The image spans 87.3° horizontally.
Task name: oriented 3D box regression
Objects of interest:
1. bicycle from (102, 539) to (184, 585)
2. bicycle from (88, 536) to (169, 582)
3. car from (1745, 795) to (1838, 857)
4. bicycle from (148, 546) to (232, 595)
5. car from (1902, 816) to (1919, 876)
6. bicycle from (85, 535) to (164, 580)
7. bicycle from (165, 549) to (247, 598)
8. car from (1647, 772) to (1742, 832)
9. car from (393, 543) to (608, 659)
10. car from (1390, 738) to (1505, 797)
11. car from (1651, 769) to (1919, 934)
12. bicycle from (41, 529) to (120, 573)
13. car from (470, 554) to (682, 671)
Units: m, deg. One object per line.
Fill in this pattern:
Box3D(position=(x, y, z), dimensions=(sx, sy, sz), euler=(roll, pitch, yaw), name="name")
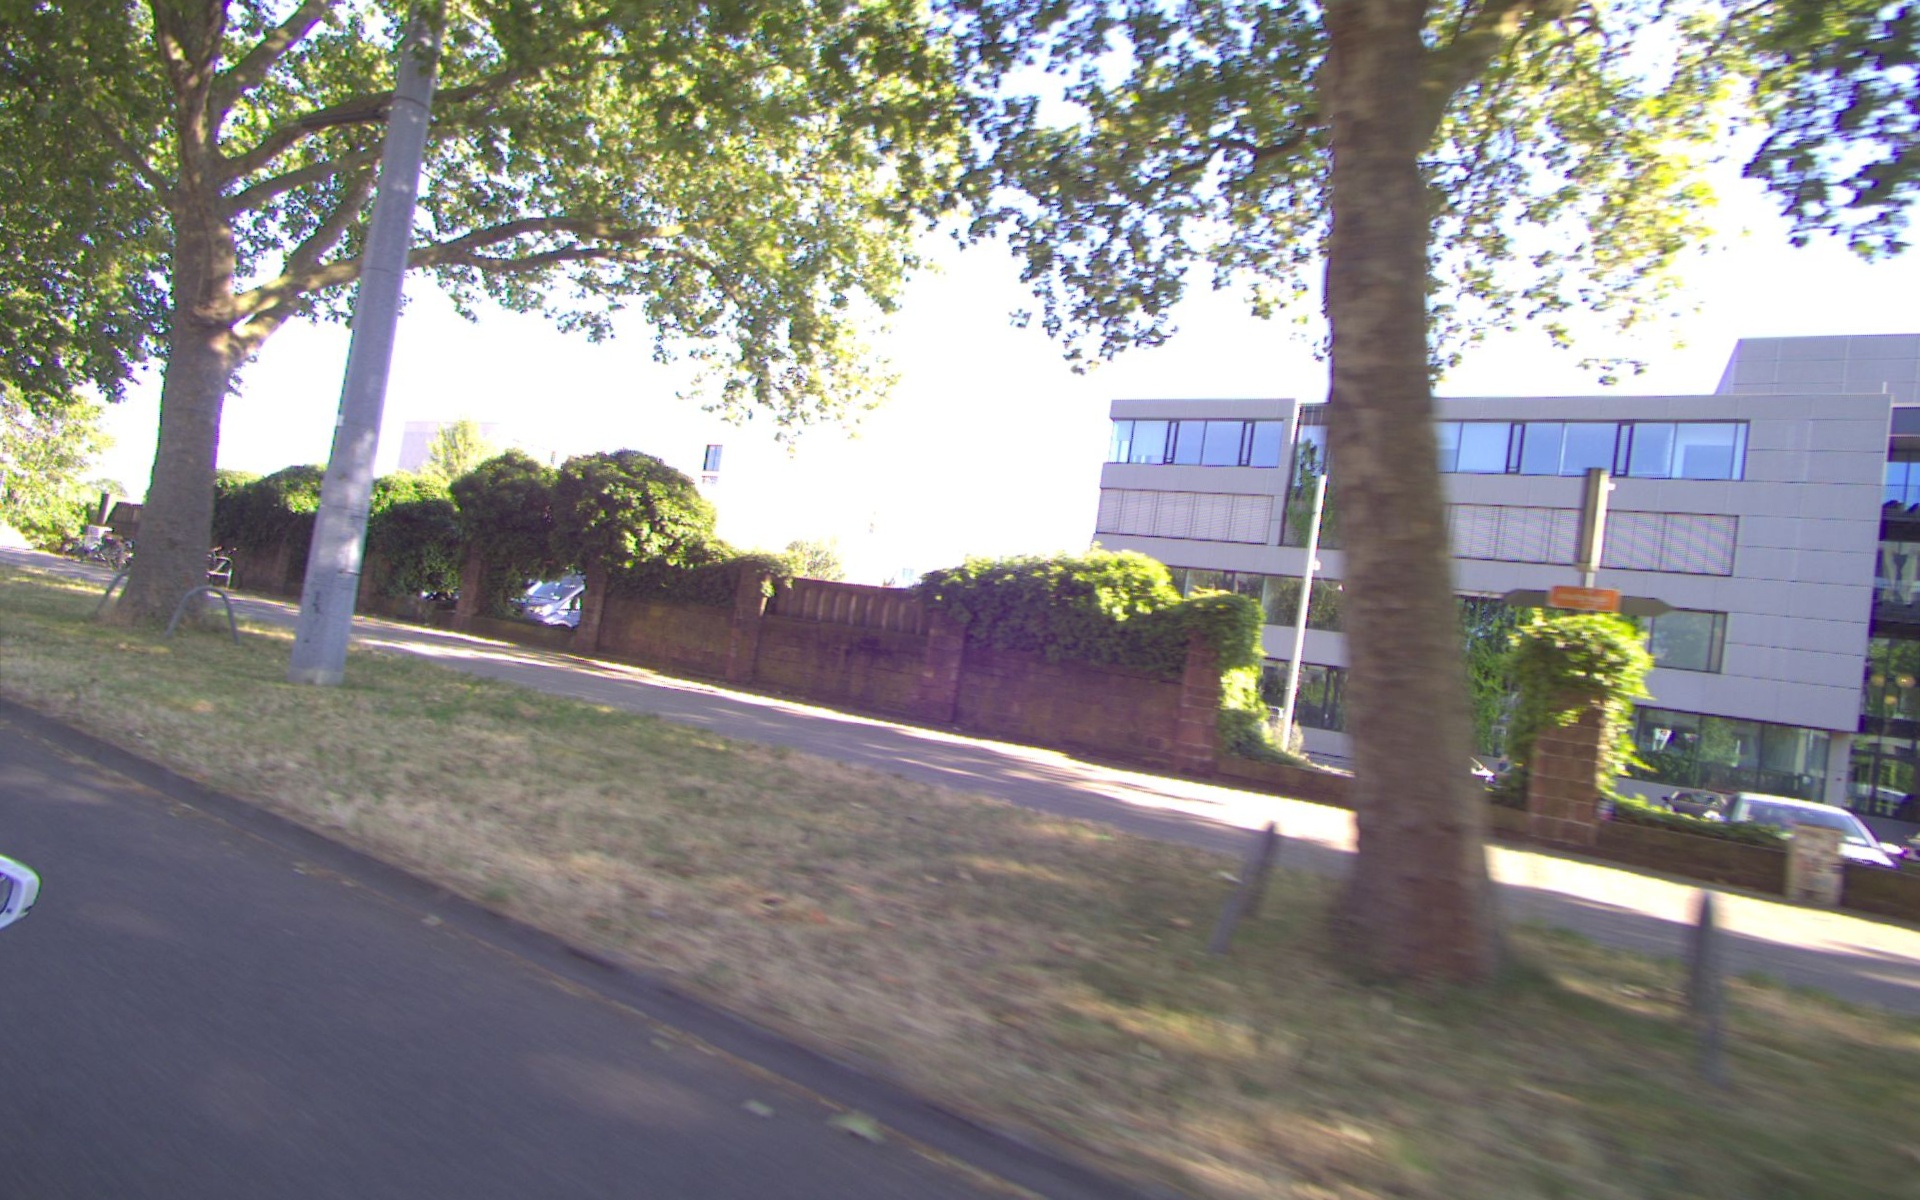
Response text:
Box3D(position=(-24.655, -1.131, 30.384), dimensions=(0.432, 1.133, 1.777), euler=(7, -2, 31), name="bicycle")
Box3D(position=(-25.550, -1.238, 30.958), dimensions=(0.432, 1.133, 1.777), euler=(7, -2, 31), name="bicycle")
Box3D(position=(26.839, 7.302, 32.455), dimensions=(3.644, 1.580, 1.632), euler=(12, -4, -40), name="car")
Box3D(position=(-22.057, -0.840, 28.846), dimensions=(0.432, 1.133, 1.777), euler=(7, -2, 31), name="bicycle")
Box3D(position=(29.655, 7.482, 29.921), dimensions=(4.338, 1.663, 1.776), euler=(12, -4, -39), name="car")
Box3D(position=(-26.300, -1.314, 31.696), dimensions=(0.432, 1.133, 1.777), euler=(7, -2, 31), name="bicycle")
Box3D(position=(-21.174, -0.742, 28.288), dimensions=(0.432, 1.133, 1.691), euler=(7, -2, 31), name="bicycle")
Box3D(position=(24.698, 6.785, 33.779), dimensions=(3.692, 1.580, 1.633), euler=(11, -4, -39), name="car")
Box3D(position=(-13.658, 0.131, 30.323), dimensions=(1.967, 2.515, 5.480), euler=(7, -5, 31), name="car")
Box3D(position=(17.925, 6.168, 37.026), dimensions=(3.617, 1.537, 1.644), euler=(10, -3, -20), name="car")
Box3D(position=(11.763, 3.453, 14.494), dimensions=(2.005, 1.537, 4.123), euler=(7, -4, 23), name="car")
Box3D(position=(-28.385, -1.569, 32.502), dimensions=(0.431, 1.133, 1.780), euler=(7, -2, 25), name="bicycle")
Box3D(position=(-11.007, 0.462, 29.380), dimensions=(1.967, 2.515, 5.480), euler=(7, -5, 31), name="car")
